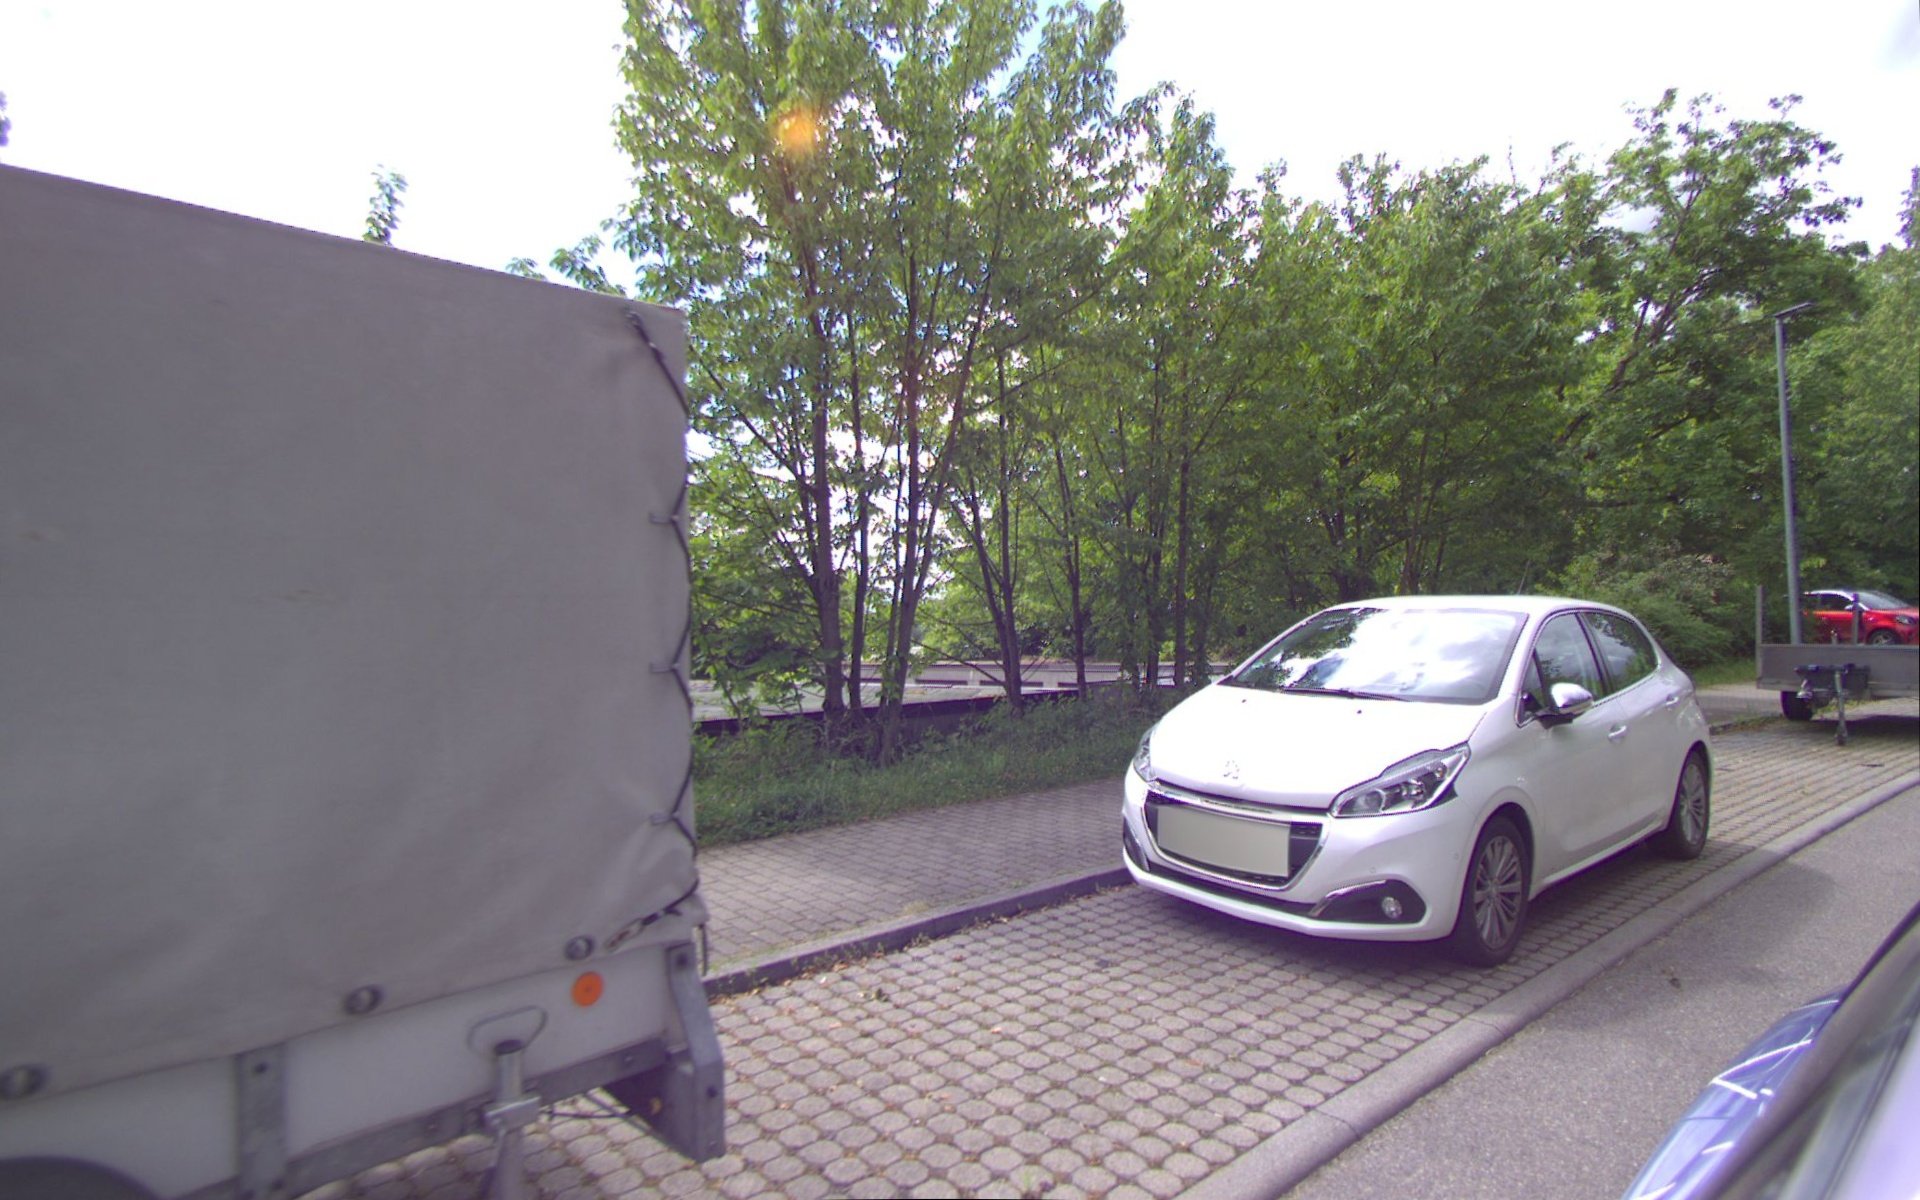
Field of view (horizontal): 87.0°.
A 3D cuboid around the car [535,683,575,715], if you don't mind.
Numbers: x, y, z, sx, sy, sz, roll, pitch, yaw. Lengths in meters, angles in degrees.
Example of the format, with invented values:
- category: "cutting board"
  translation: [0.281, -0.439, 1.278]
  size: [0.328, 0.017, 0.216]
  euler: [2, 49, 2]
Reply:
- category: "car"
  translation: [-18.993, 4.658, 47.583]
  size: [1.609, 1.296, 3.613]
  euler: [-1, -7, -20]

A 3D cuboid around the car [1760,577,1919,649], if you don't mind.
- category: "car"
  translation: [21.052, 0.285, 23.539]
  size: [1.617, 1.537, 3.494]
  euler: [-2, 0, -15]

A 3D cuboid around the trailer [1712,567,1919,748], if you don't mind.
- category: "trailer"
  translation: [9.933, 0.485, 10.728]
  size: [4.404, 1.599, 1.816]
  euler: [-1, 0, -34]

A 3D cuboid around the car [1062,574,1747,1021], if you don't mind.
- category: "car"
  translation: [2.457, 0.641, 5.223]
  size: [3.715, 1.496, 1.710]
  euler: [-1, 0, -39]

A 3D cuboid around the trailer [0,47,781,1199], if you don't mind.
- category: "trailer"
  translation: [-2.312, 0.344, 1.471]
  size: [3.720, 2.104, 1.732]
  euler: [-1, 0, -43]
